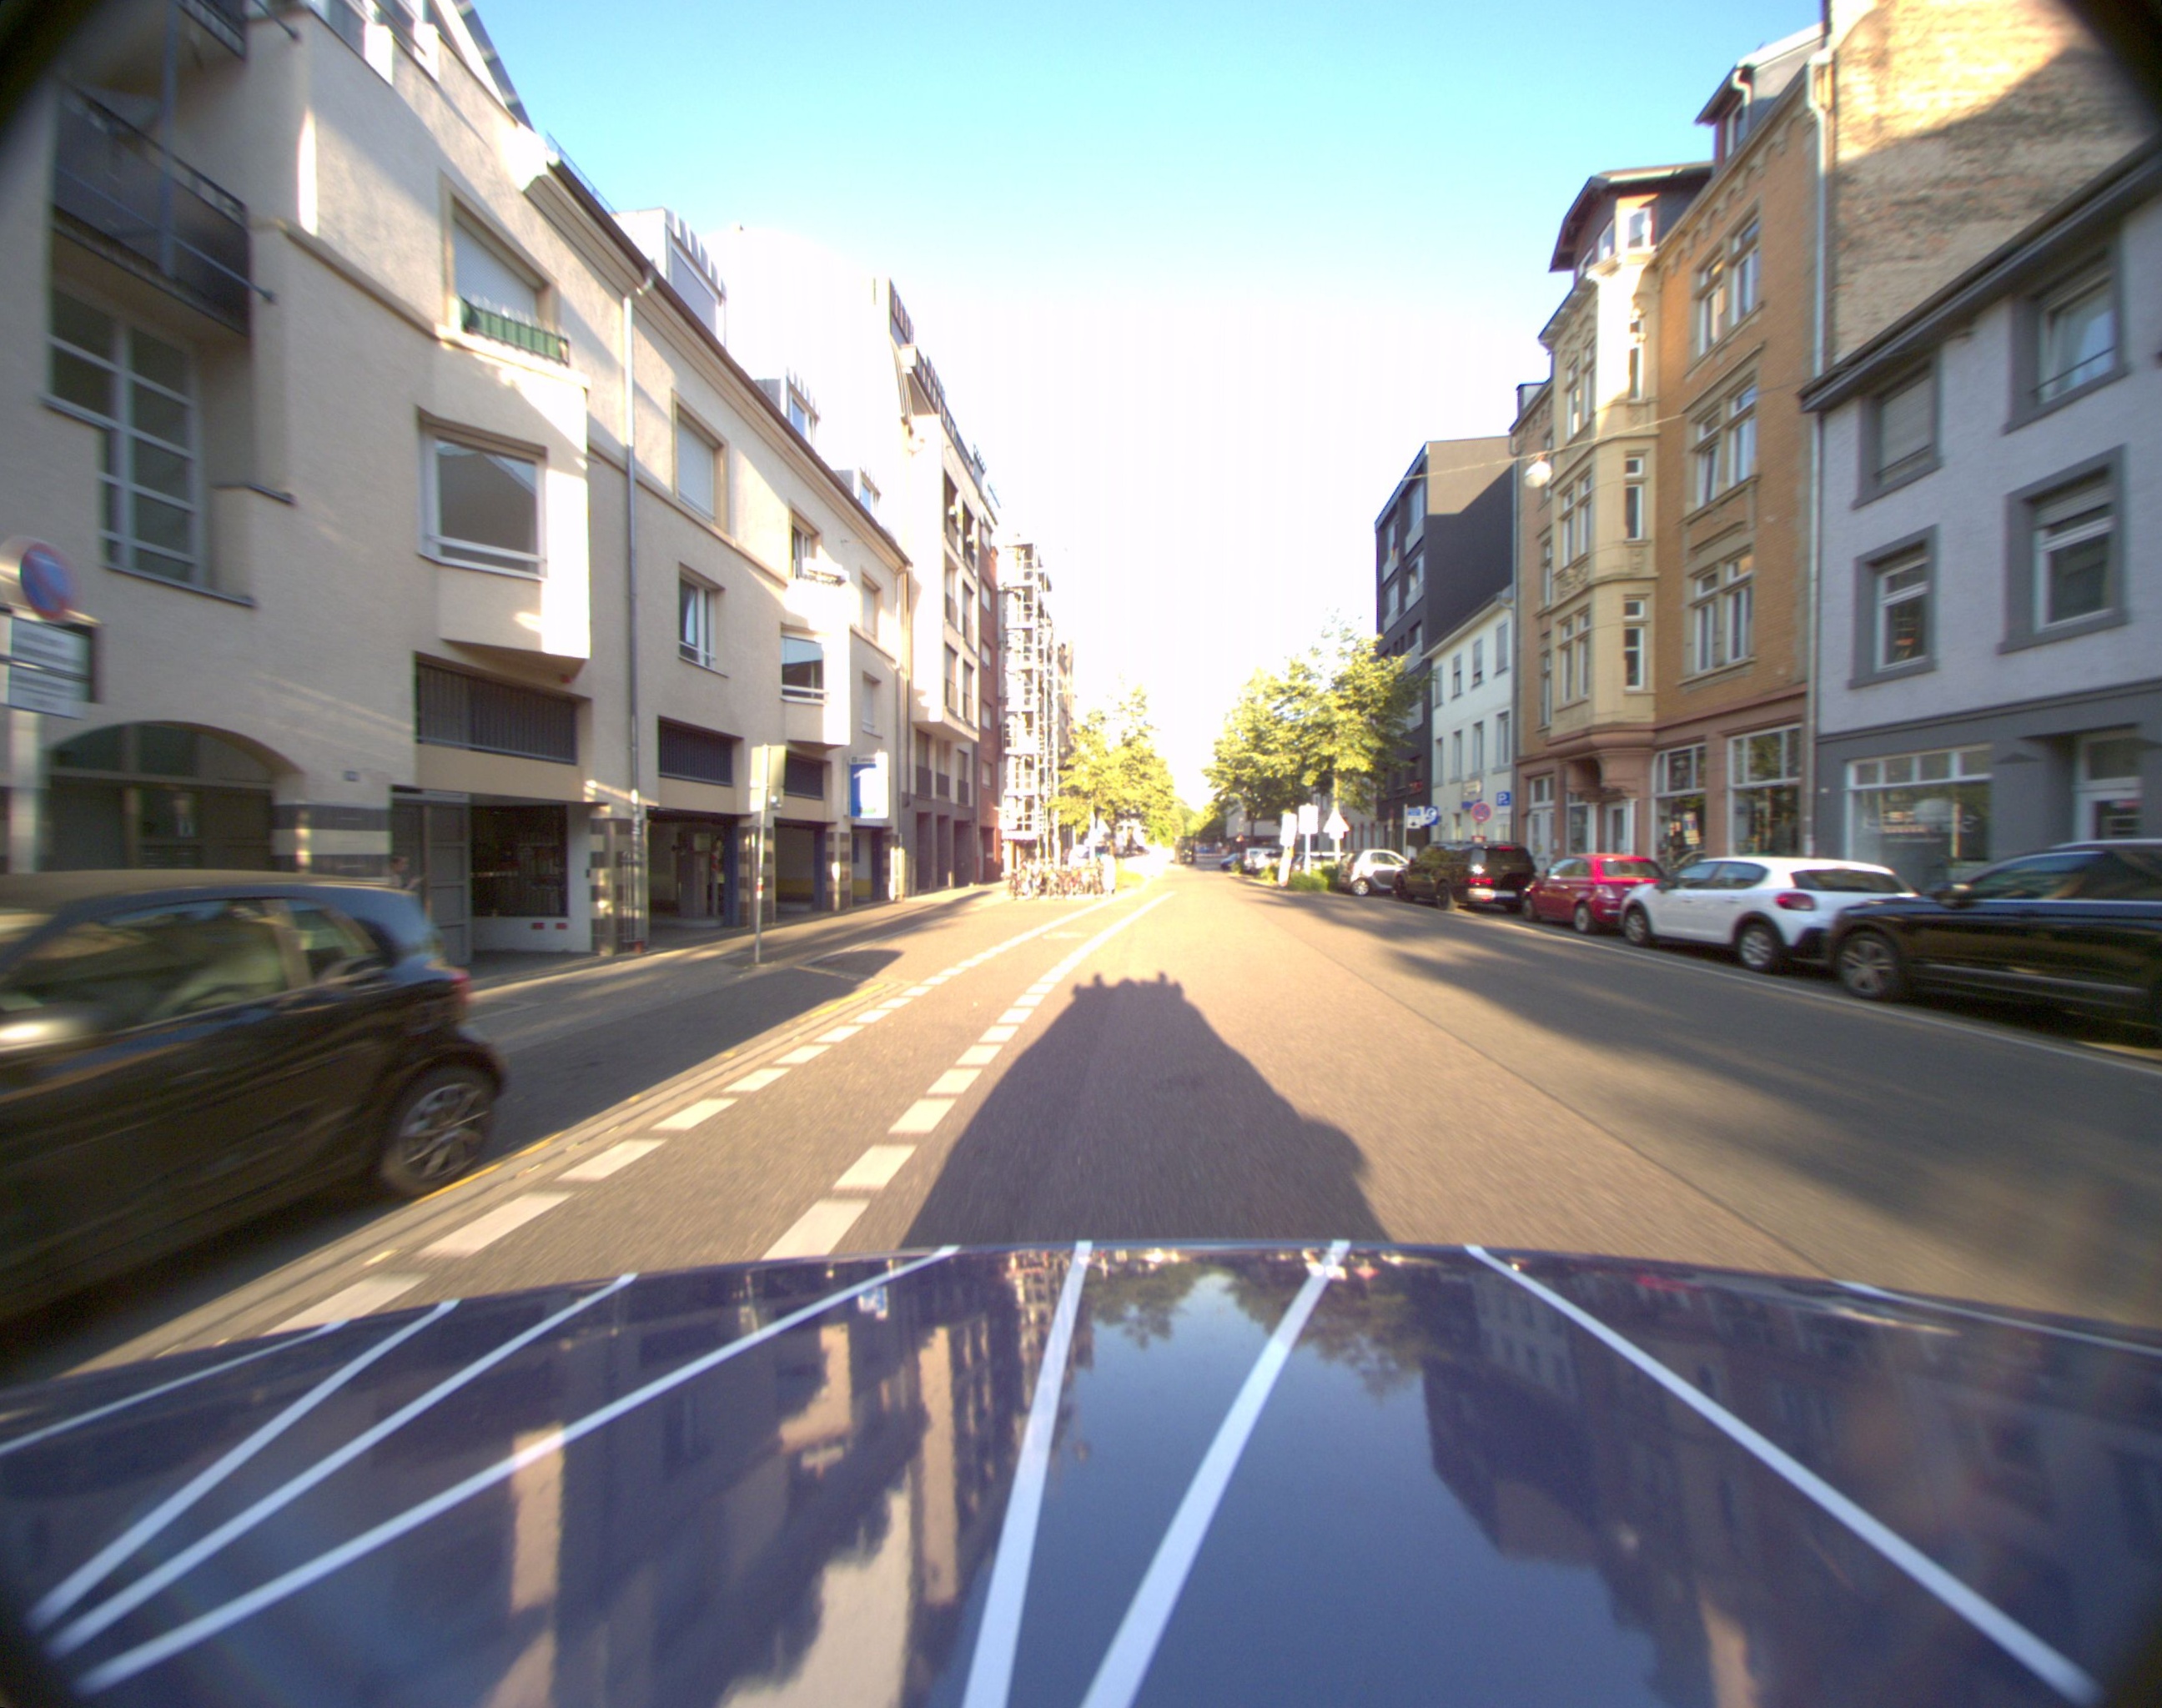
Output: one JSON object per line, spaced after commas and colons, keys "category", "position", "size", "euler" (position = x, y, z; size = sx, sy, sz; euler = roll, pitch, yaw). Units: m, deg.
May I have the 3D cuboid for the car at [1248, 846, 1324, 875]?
{"category": "car", "position": [12.382, 0.399, 46.157], "size": [4.130, 1.667, 1.997], "euler": [1, 1, 3]}

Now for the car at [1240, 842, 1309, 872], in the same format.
{"category": "car", "position": [13.006, 0.183, 51.260], "size": [4.190, 1.972, 2.056], "euler": [1, 1, 1]}

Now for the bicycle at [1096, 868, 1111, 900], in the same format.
{"category": "bicycle", "position": [0.731, 0.956, 24.856], "size": [0.469, 0.952, 1.919], "euler": [0, 1, 2]}

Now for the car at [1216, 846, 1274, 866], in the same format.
{"category": "car", "position": [13.673, 0.178, 63.372], "size": [4.195, 1.618, 2.054], "euler": [1, 1, -11]}

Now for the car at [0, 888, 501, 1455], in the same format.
{"category": "car", "position": [-3.909, 0.976, 2.588], "size": [1.571, 1.540, 2.804], "euler": [1, 1, 6]}

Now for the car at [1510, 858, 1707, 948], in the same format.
{"category": "car", "position": [10.097, 0.855, 14.904], "size": [1.688, 1.455, 3.543], "euler": [1, 1, 7]}

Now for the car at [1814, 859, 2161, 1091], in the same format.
{"category": "car", "position": [8.693, 0.891, 6.145], "size": [1.769, 1.604, 4.219], "euler": [1, 1, 7]}

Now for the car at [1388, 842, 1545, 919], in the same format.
{"category": "car", "position": [9.688, 0.592, 19.536], "size": [2.054, 1.742, 4.218], "euler": [1, 1, 3]}

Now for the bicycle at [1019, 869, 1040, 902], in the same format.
{"category": "bicycle", "position": [-1.645, 0.995, 24.503], "size": [0.469, 0.952, 1.919], "euler": [0, 1, 2]}

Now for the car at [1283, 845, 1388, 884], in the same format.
{"category": "car", "position": [10.998, 0.440, 33.067], "size": [3.909, 1.572, 1.959], "euler": [1, 1, 1]}

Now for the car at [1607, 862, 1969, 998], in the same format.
{"category": "car", "position": [9.497, 0.889, 10.725], "size": [1.769, 1.455, 3.868], "euler": [1, 1, 7]}

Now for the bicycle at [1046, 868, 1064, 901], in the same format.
{"category": "bicycle", "position": [-0.839, 0.969, 24.738], "size": [0.469, 0.952, 1.919], "euler": [0, 1, 2]}

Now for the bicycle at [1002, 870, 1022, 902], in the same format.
{"category": "bicycle", "position": [-2.229, 1.017, 24.658], "size": [0.469, 0.952, 1.918], "euler": [0, 1, -1]}

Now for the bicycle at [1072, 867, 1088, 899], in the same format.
{"category": "bicycle", "position": [-0.027, 0.936, 24.817], "size": [0.469, 0.952, 1.919], "euler": [0, 1, 2]}

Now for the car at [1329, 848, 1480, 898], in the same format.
{"category": "car", "position": [10.766, 0.603, 25.571], "size": [4.190, 1.572, 2.056], "euler": [1, 1, 1]}

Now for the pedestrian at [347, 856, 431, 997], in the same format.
{"category": "pedestrian", "position": [-7.937, 0.814, 8.729], "size": [0.461, 1.564, 0.489], "euler": [-1, 1, -1]}
